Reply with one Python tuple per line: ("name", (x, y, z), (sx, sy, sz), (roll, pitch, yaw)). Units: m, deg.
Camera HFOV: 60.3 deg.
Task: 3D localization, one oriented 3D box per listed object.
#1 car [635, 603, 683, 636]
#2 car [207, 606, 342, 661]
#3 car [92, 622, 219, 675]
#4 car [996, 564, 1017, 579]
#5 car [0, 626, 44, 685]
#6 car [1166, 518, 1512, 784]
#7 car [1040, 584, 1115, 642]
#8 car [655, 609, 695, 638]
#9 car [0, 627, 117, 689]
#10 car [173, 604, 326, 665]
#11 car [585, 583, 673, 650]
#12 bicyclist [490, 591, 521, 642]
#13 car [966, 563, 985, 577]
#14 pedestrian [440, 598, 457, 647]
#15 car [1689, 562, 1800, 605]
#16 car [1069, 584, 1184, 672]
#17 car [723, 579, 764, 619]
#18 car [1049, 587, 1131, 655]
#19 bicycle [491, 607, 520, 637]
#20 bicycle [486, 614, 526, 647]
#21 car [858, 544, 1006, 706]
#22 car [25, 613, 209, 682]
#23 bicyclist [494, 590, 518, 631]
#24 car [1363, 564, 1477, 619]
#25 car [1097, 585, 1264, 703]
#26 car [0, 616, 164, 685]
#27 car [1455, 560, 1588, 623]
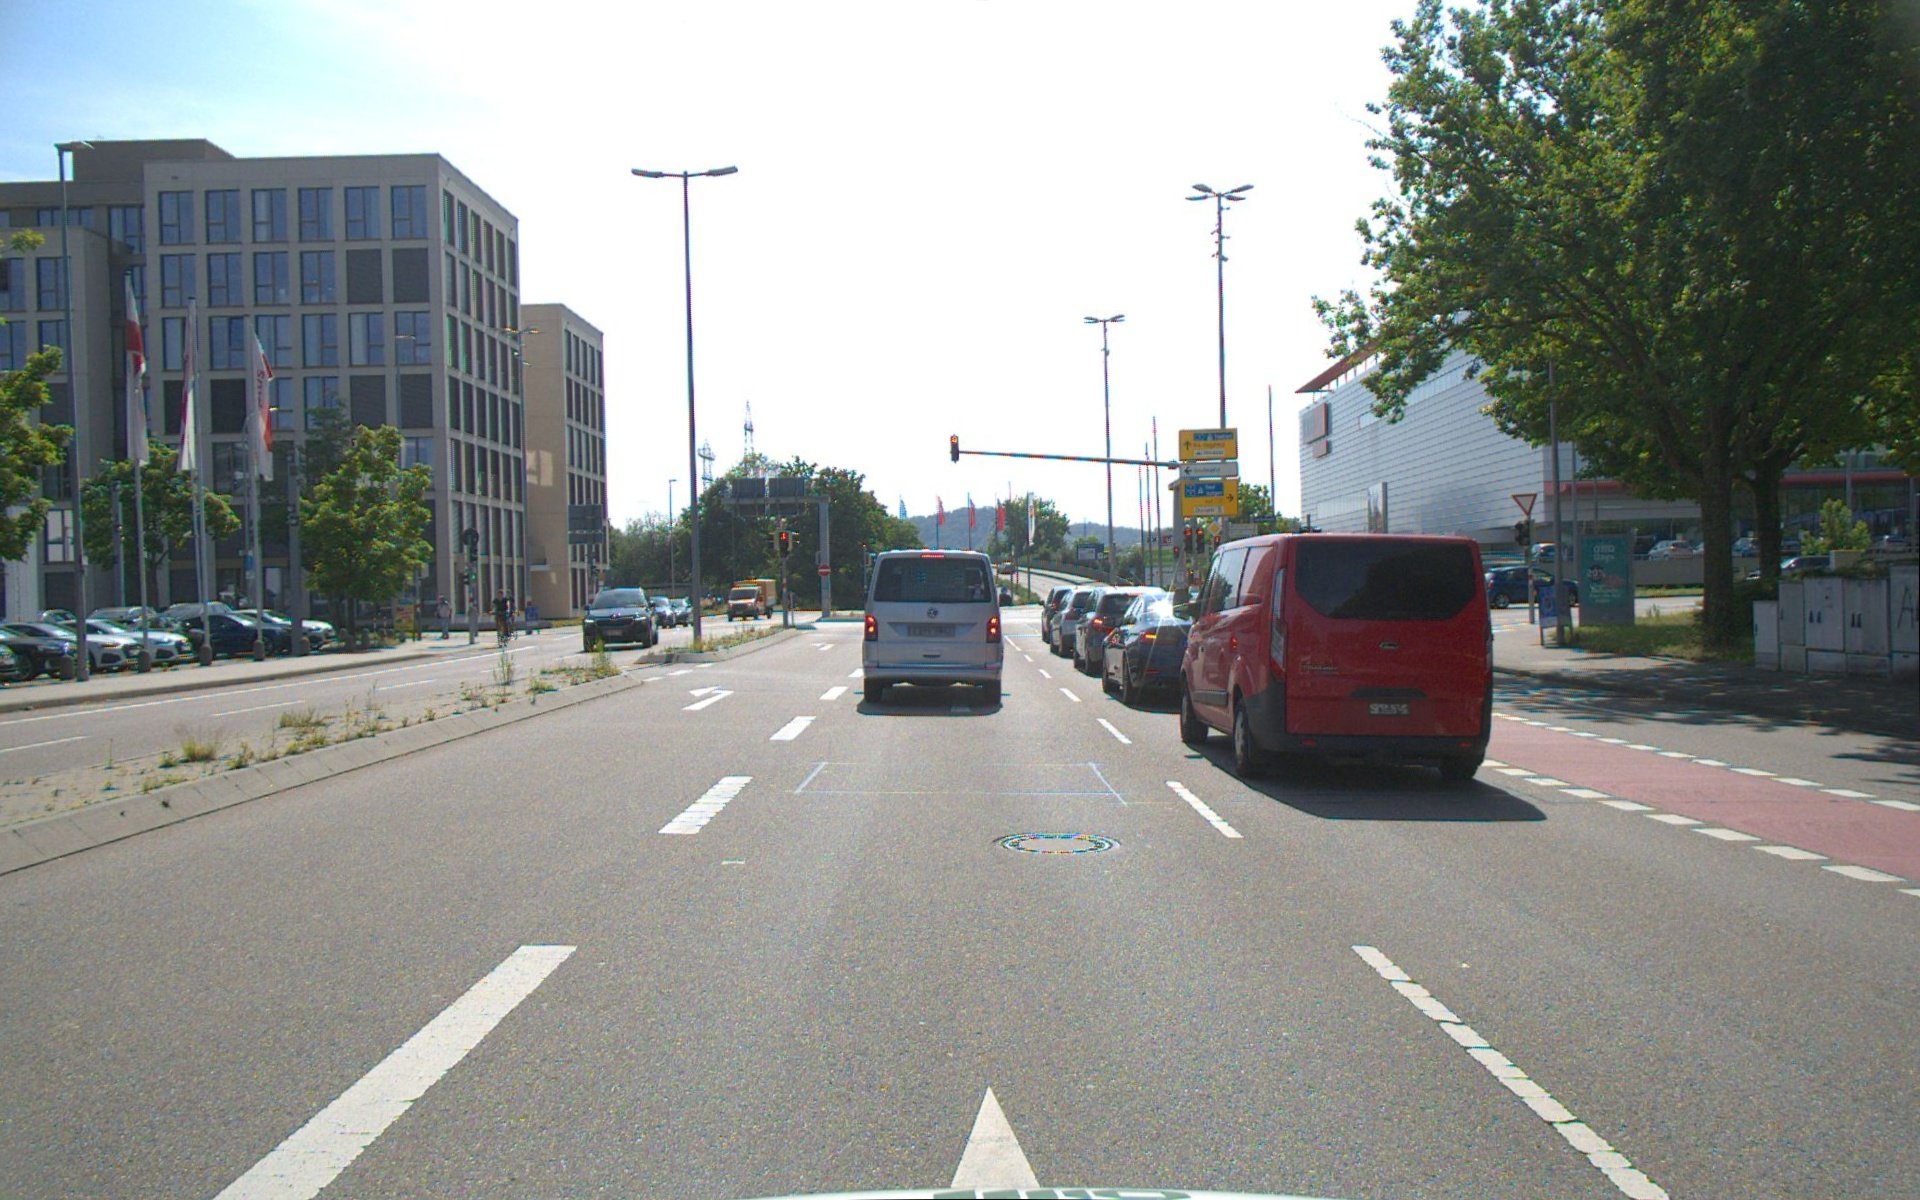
("car", (-14.052, 0.893, 77.413), (1.648, 1.381, 3.839), (-2, 2, -3))
("car", (-21.963, 1.060, 53.051), (3.521, 1.381, 1.640), (-5, 1, 0))
("car", (-22.800, 1.343, 47.002), (1.819, 1.194, 3.429), (-5, 1, 0))
("car", (6.654, -4.102, 237.153), (1.961, 2.049, 3.983), (0, 0, -15))
("car", (-21.868, 1.337, 35.091), (3.794, 1.172, 1.796), (-5, 1, 3))
("car", (3.190, 0.364, 15.073), (1.927, 2.002, 5.125), (0, 0, -1))
("car", (3.252, 0.331, 46.461), (1.799, 1.552, 4.000), (0, 0, -1))
("car", (-15.261, 1.254, 88.838), (1.545, 1.434, 4.377), (-2, 0, -3))
("car", (-21.803, 1.403, 38.007), (3.794, 1.186, 1.912), (-5, 1, 3))
("car", (-21.901, 1.037, 51.065), (3.795, 1.490, 1.868), (-5, 1, 1))
("car", (-9.257, 0.432, 46.490), (1.704, 1.646, 4.207), (-4, 0, -3))
("bicyclist", (-14.297, 0.514, 52.031), (0.606, 1.553, 1.036), (-2, 0, 0))
("car", (2.381, -4.618, 252.560), (1.961, 2.049, 3.983), (0, 0, -15))
("pedestrian", (-21.558, 0.925, 69.690), (0.547, 2.049, 0.576), (0, 0, 1))
("car", (34.229, -0.722, 72.202), (4.046, 1.545, 1.482), (-4, 0, 4))
("car", (3.064, 0.471, 31.171), (1.711, 1.543, 4.077), (0, 0, -1))
("car", (-14.657, -0.089, 112.478), (2.358, 2.605, 6.888), (-2, 0, -5))
("car", (2.956, 0.441, 38.174), (1.546, 1.483, 3.785), (0, 0, -1))
("bicycle", (-17.208, 0.826, 62.657), (0.573, 1.069, 1.876), (-1, 0, -1))
("bicycle", (-14.255, 0.949, 51.951), (0.666, 0.957, 1.973), (-2, 0, 0))
("car", (-0.362, 0.294, 22.670), (1.846, 2.025, 4.000), (0, 0, -1))
("car", (-21.887, 1.219, 43.034), (3.794, 1.388, 1.749), (-5, 1, 3))
("bicyclist", (-17.205, 0.398, 62.723), (0.617, 1.527, 1.028), (-1, 0, -1))
("car", (19.495, -0.354, 70.217), (4.310, 2.029, 1.482), (-4, 0, 4))
("car", (2.983, 0.538, 23.233), (1.711, 1.484, 4.475), (0, 0, -1))
("car", (-21.902, 1.248, 40.517), (3.794, 1.356, 1.849), (-5, 1, 3))
("car", (20.787, -0.311, 61.350), (4.311, 2.029, 1.481), (-4, 0, 2))
